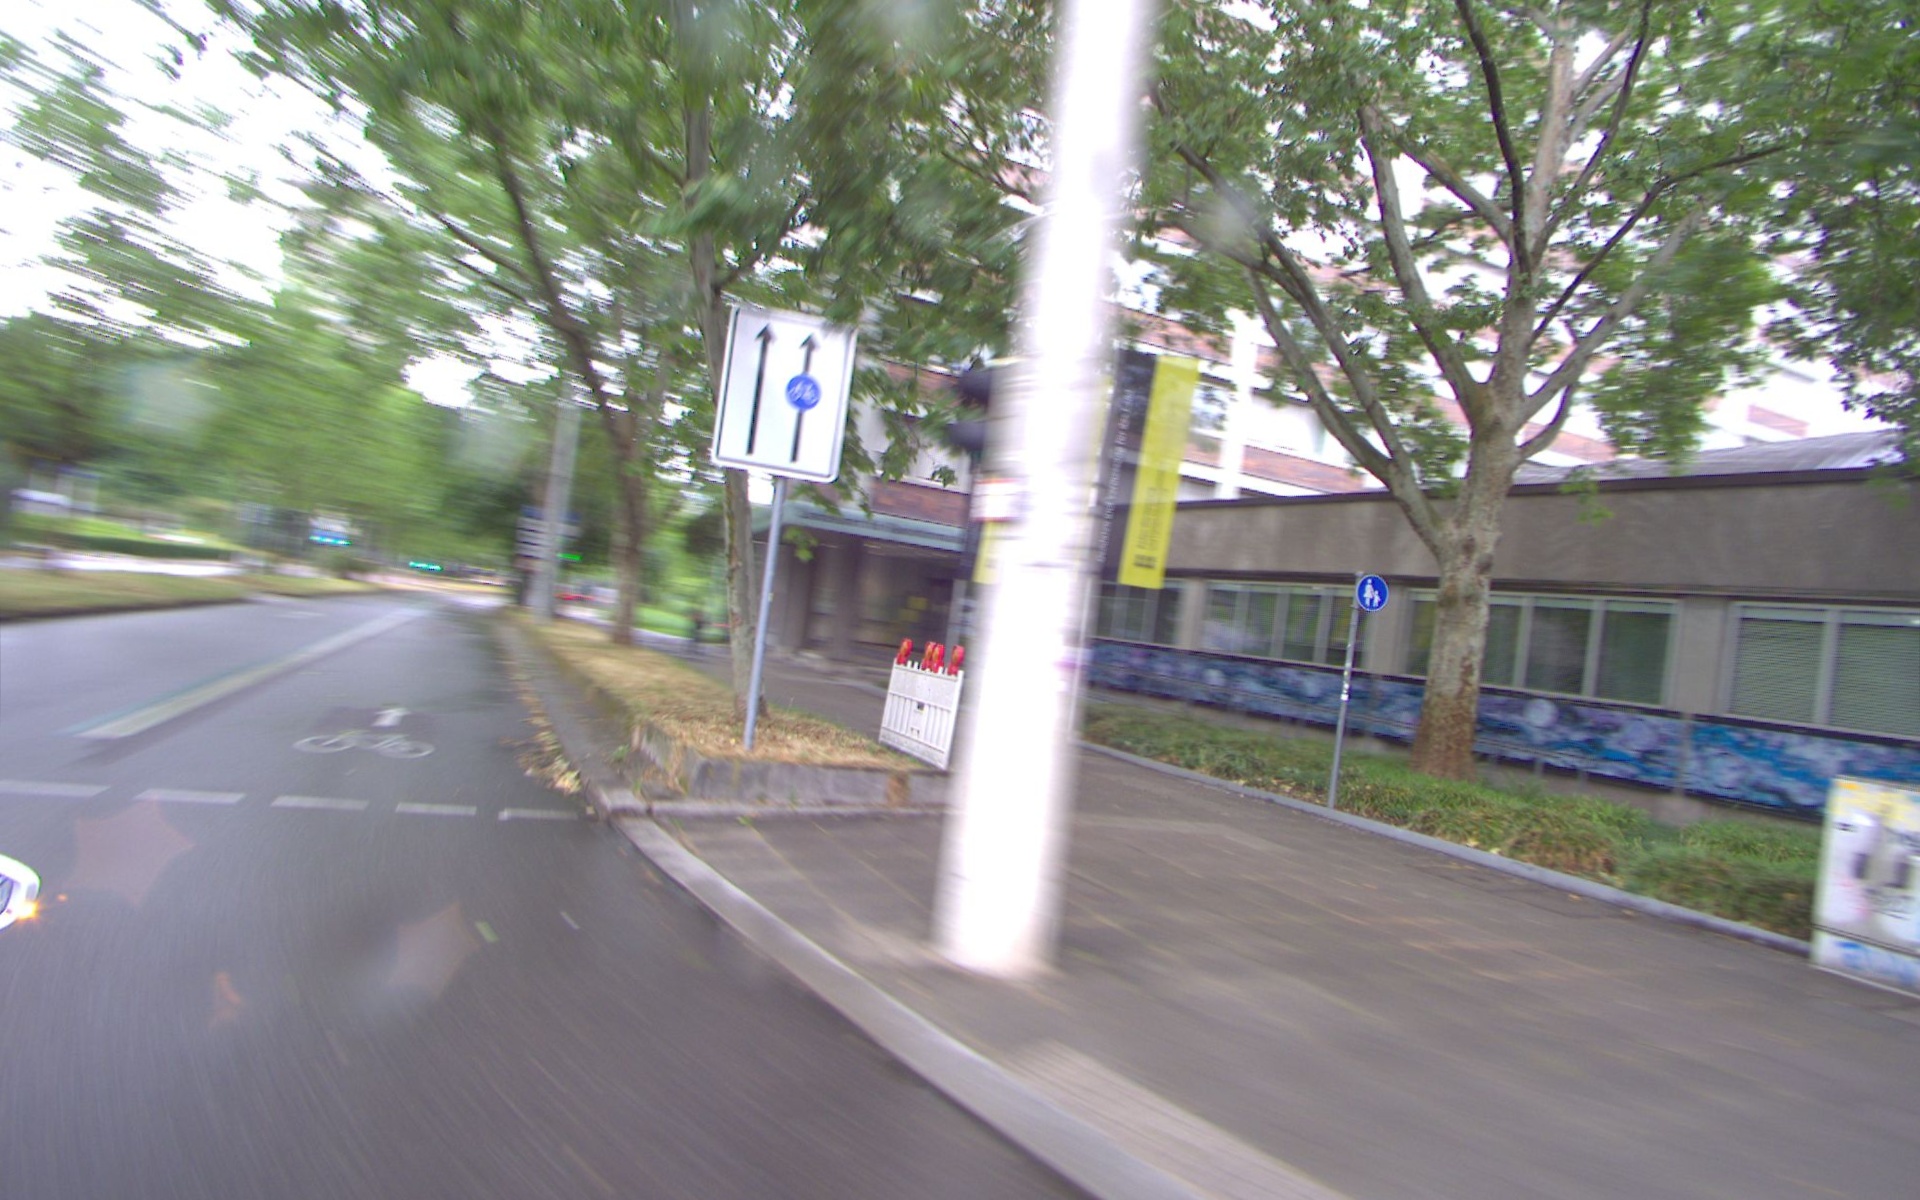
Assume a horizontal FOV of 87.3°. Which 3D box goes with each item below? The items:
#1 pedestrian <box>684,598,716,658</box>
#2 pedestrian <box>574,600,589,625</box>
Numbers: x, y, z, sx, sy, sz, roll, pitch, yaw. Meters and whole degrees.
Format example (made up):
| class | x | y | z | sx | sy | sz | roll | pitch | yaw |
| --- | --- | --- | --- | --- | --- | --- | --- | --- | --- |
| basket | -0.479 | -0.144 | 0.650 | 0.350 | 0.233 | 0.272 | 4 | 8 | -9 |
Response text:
| class | x | y | z | sx | sy | sz | roll | pitch | yaw |
| --- | --- | --- | --- | --- | --- | --- | --- | --- | --- |
| pedestrian | -7.555 | 0.803 | 29.224 | 0.516 | 1.657 | 0.929 | 8 | -2 | -27 |
| pedestrian | -27.179 | 0.877 | 72.298 | 0.697 | 1.657 | 0.929 | 8 | -2 | -27 |
